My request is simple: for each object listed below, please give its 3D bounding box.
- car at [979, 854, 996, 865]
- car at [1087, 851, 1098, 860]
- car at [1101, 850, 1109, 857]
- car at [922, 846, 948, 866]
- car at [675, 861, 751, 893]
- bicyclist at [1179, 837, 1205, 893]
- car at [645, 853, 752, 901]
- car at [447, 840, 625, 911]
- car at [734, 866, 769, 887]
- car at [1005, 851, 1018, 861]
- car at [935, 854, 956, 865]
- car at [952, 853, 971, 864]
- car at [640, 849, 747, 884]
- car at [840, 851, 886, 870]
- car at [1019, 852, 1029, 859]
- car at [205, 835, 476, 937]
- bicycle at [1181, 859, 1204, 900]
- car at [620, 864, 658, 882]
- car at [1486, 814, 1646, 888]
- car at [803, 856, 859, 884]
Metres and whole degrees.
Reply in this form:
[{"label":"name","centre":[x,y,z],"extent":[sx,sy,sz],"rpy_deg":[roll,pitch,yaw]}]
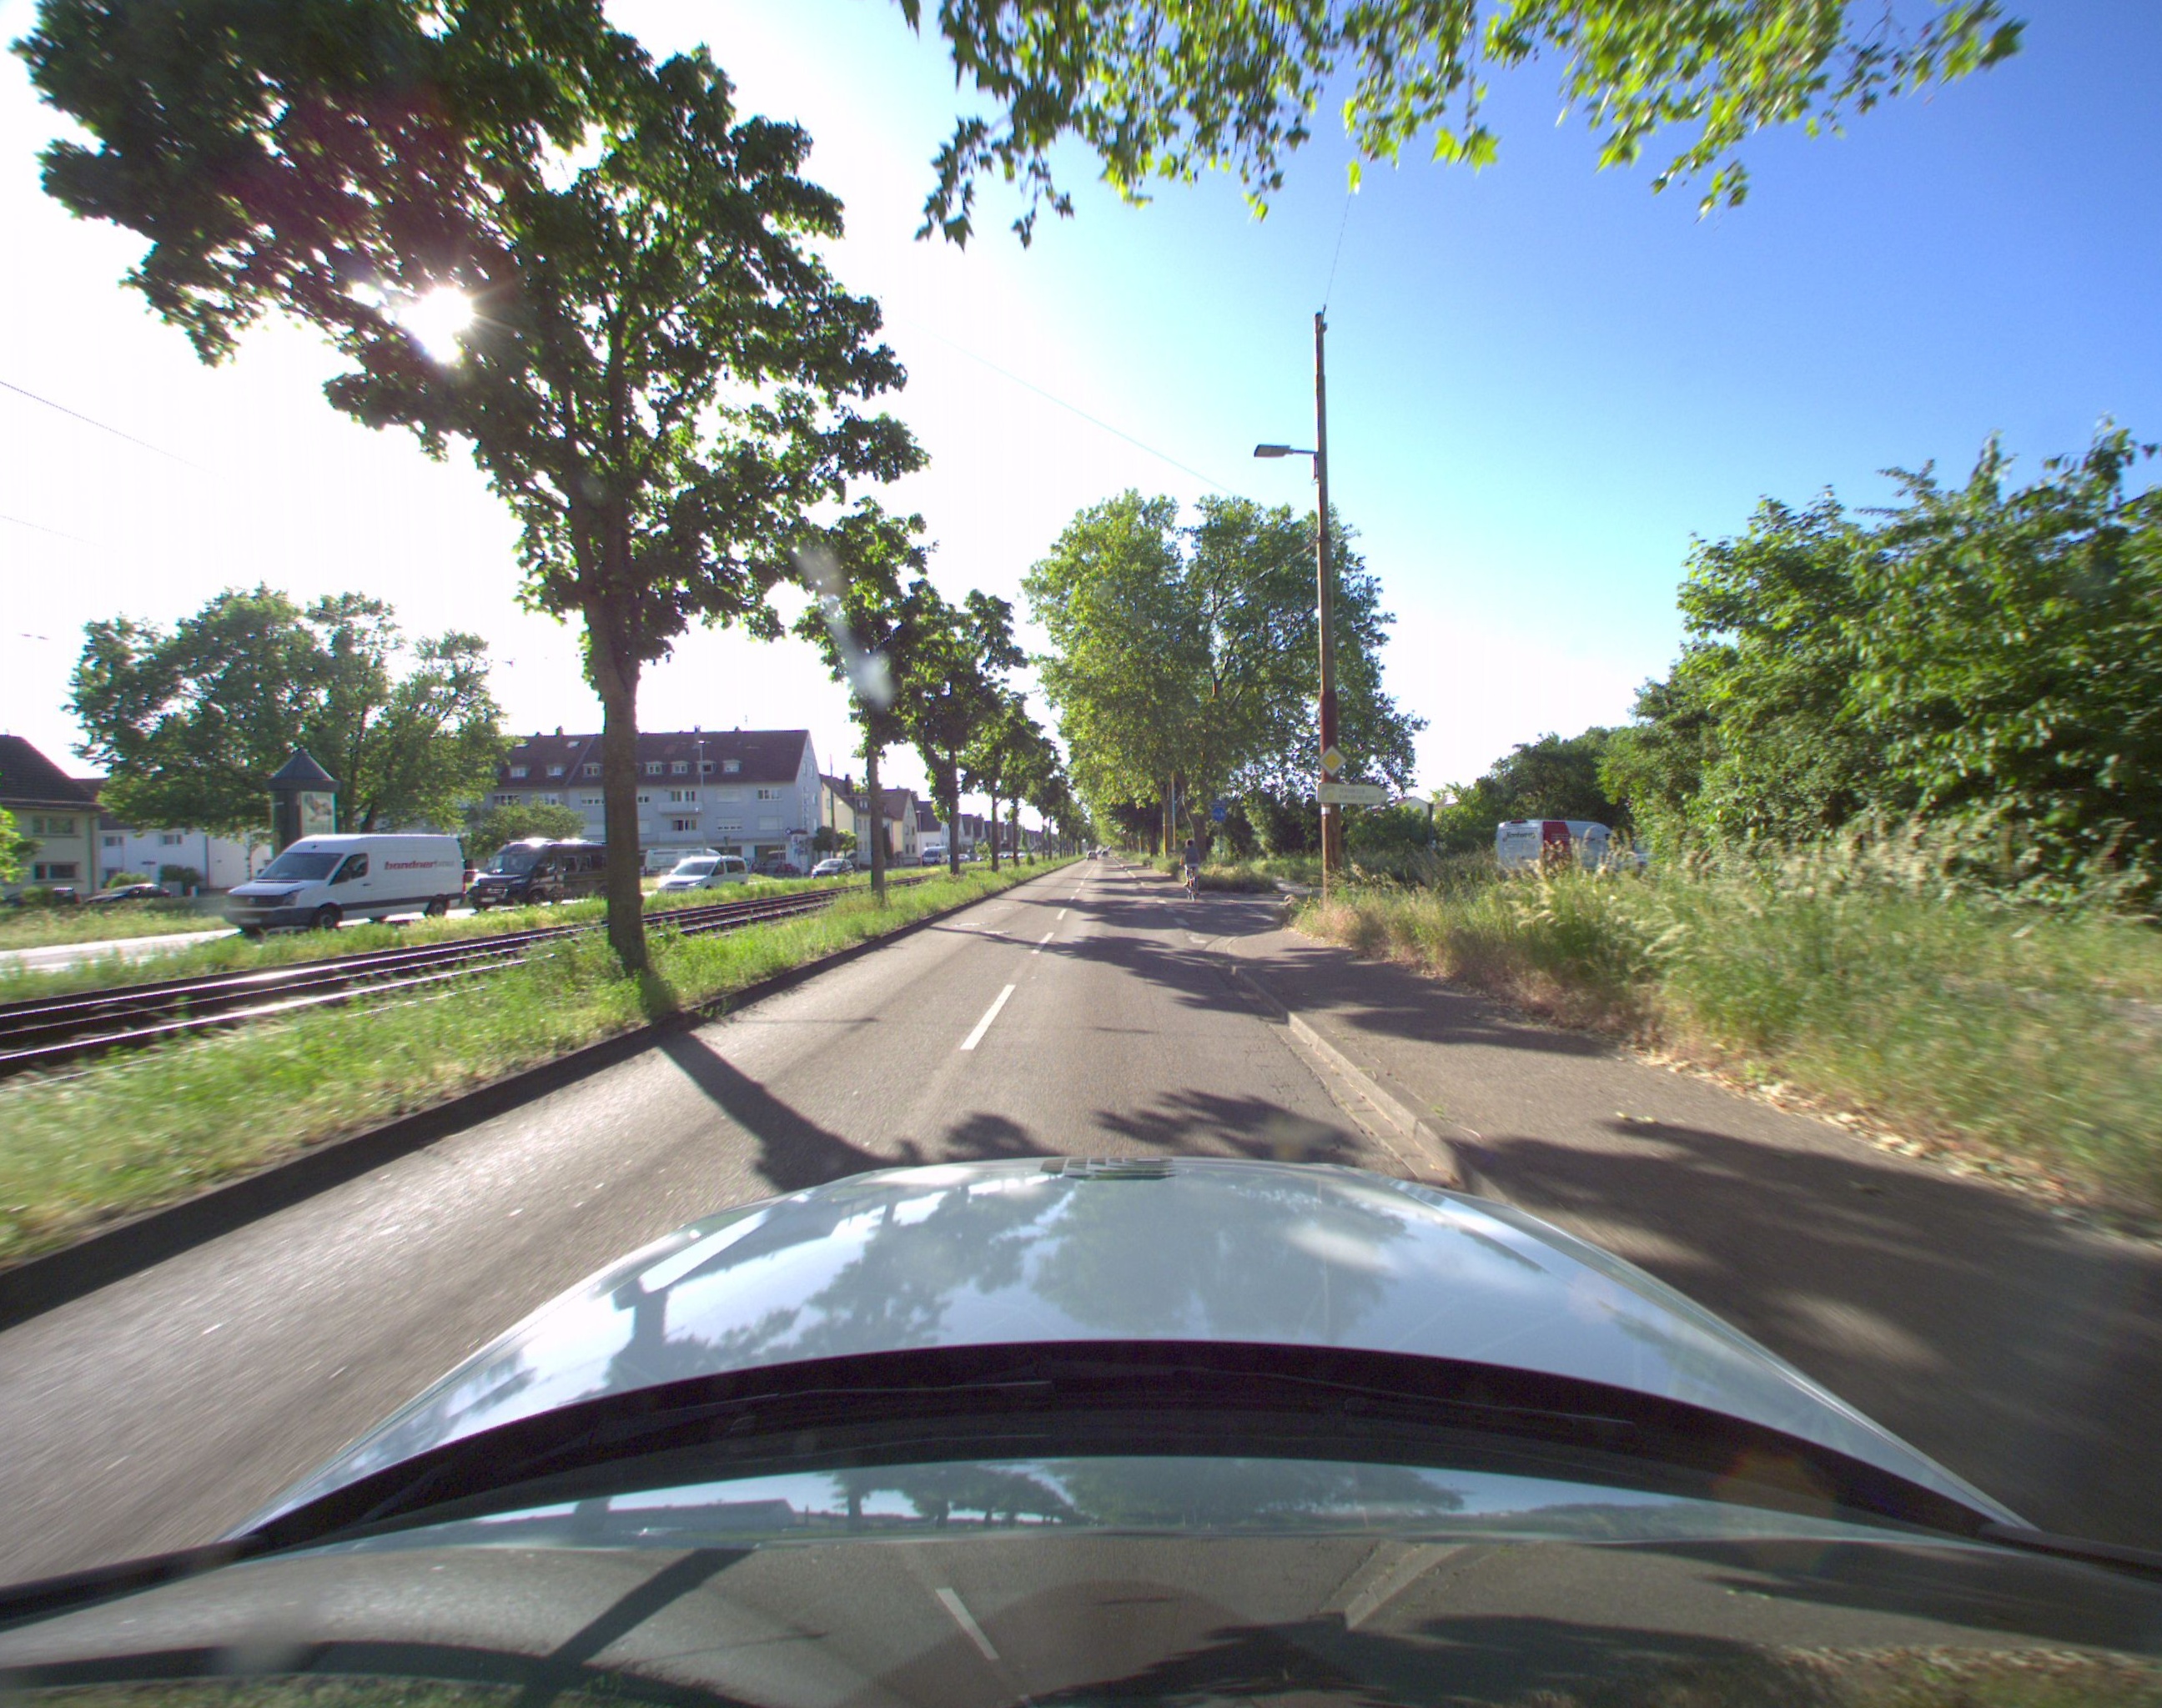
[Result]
[{"label":"car","centre":[-12.760,0.702,111.003],"extent":[1.670,1.409,4.002],"rpy_deg":[-2,0,2]},{"label":"car","centre":[1.851,0.202,130.832],"extent":[1.732,1.401,3.278],"rpy_deg":[-1,0,1]},{"label":"car","centre":[5.723,-0.166,191.475],"extent":[1.754,1.513,3.278],"rpy_deg":[-1,0,2]},{"label":"car","centre":[-18.273,0.224,102.325],"extent":[1.986,2.459,6.676],"rpy_deg":[-1,0,1]},{"label":"car","centre":[-19.750,1.201,43.959],"extent":[1.816,1.607,4.776],"rpy_deg":[-1,0,2]},{"label":"bicyclist","centre":[3.321,0.322,24.419],"extent":[0.611,1.628,0.910],"rpy_deg":[-2,0,1]},{"label":"car","centre":[-15.189,0.865,32.705],"extent":[1.804,1.744,4.984],"rpy_deg":[-1,0,2]},{"label":"car","centre":[-20.118,0.725,30.587],"extent":[2.174,2.376,6.467],"rpy_deg":[-1,0,2]},{"label":"car","centre":[-28.991,1.956,71.707],"extent":[1.793,1.670,4.090],"rpy_deg":[-1,0,-7]},{"label":"car","centre":[-13.899,0.397,163.194],"extent":[1.908,1.883,4.526],"rpy_deg":[-1,0,3]},{"label":"car","centre":[-17.973,0.756,108.184],"extent":[1.818,1.412,4.659],"rpy_deg":[-1,0,1]},{"label":"car","centre":[-17.931,0.657,121.954],"extent":[1.986,1.581,4.501],"rpy_deg":[-1,1,2]},{"label":"car","centre":[-29.793,0.952,62.813],"extent":[7.049,2.507,2.328],"rpy_deg":[-1,0,-3]},{"label":"car","centre":[-23.746,0.697,89.025],"extent":[4.616,1.945,1.994],"rpy_deg":[-1,0,-9]},{"label":"car","centre":[-15.062,0.422,215.622],"extent":[1.984,1.599,4.738],"rpy_deg":[-1,0,5]},{"label":"car","centre":[-20.515,0.799,23.118],"extent":[1.994,2.496,6.138],"rpy_deg":[-1,0,1]},{"label":"bicycle","centre":[3.338,0.750,24.447],"extent":[0.438,1.153,1.824],"rpy_deg":[-2,0,2]},{"label":"car","centre":[-38.131,1.623,70.332],"extent":[1.526,1.449,3.625],"rpy_deg":[-2,0,-4]},{"label":"car","centre":[17.077,-0.118,28.705],"extent":[5.004,2.439,2.312],"rpy_deg":[-1,0,-23]},{"label":"car","centre":[-15.004,0.948,49.038],"extent":[1.985,1.531,3.754],"rpy_deg":[-2,0,3]}]
